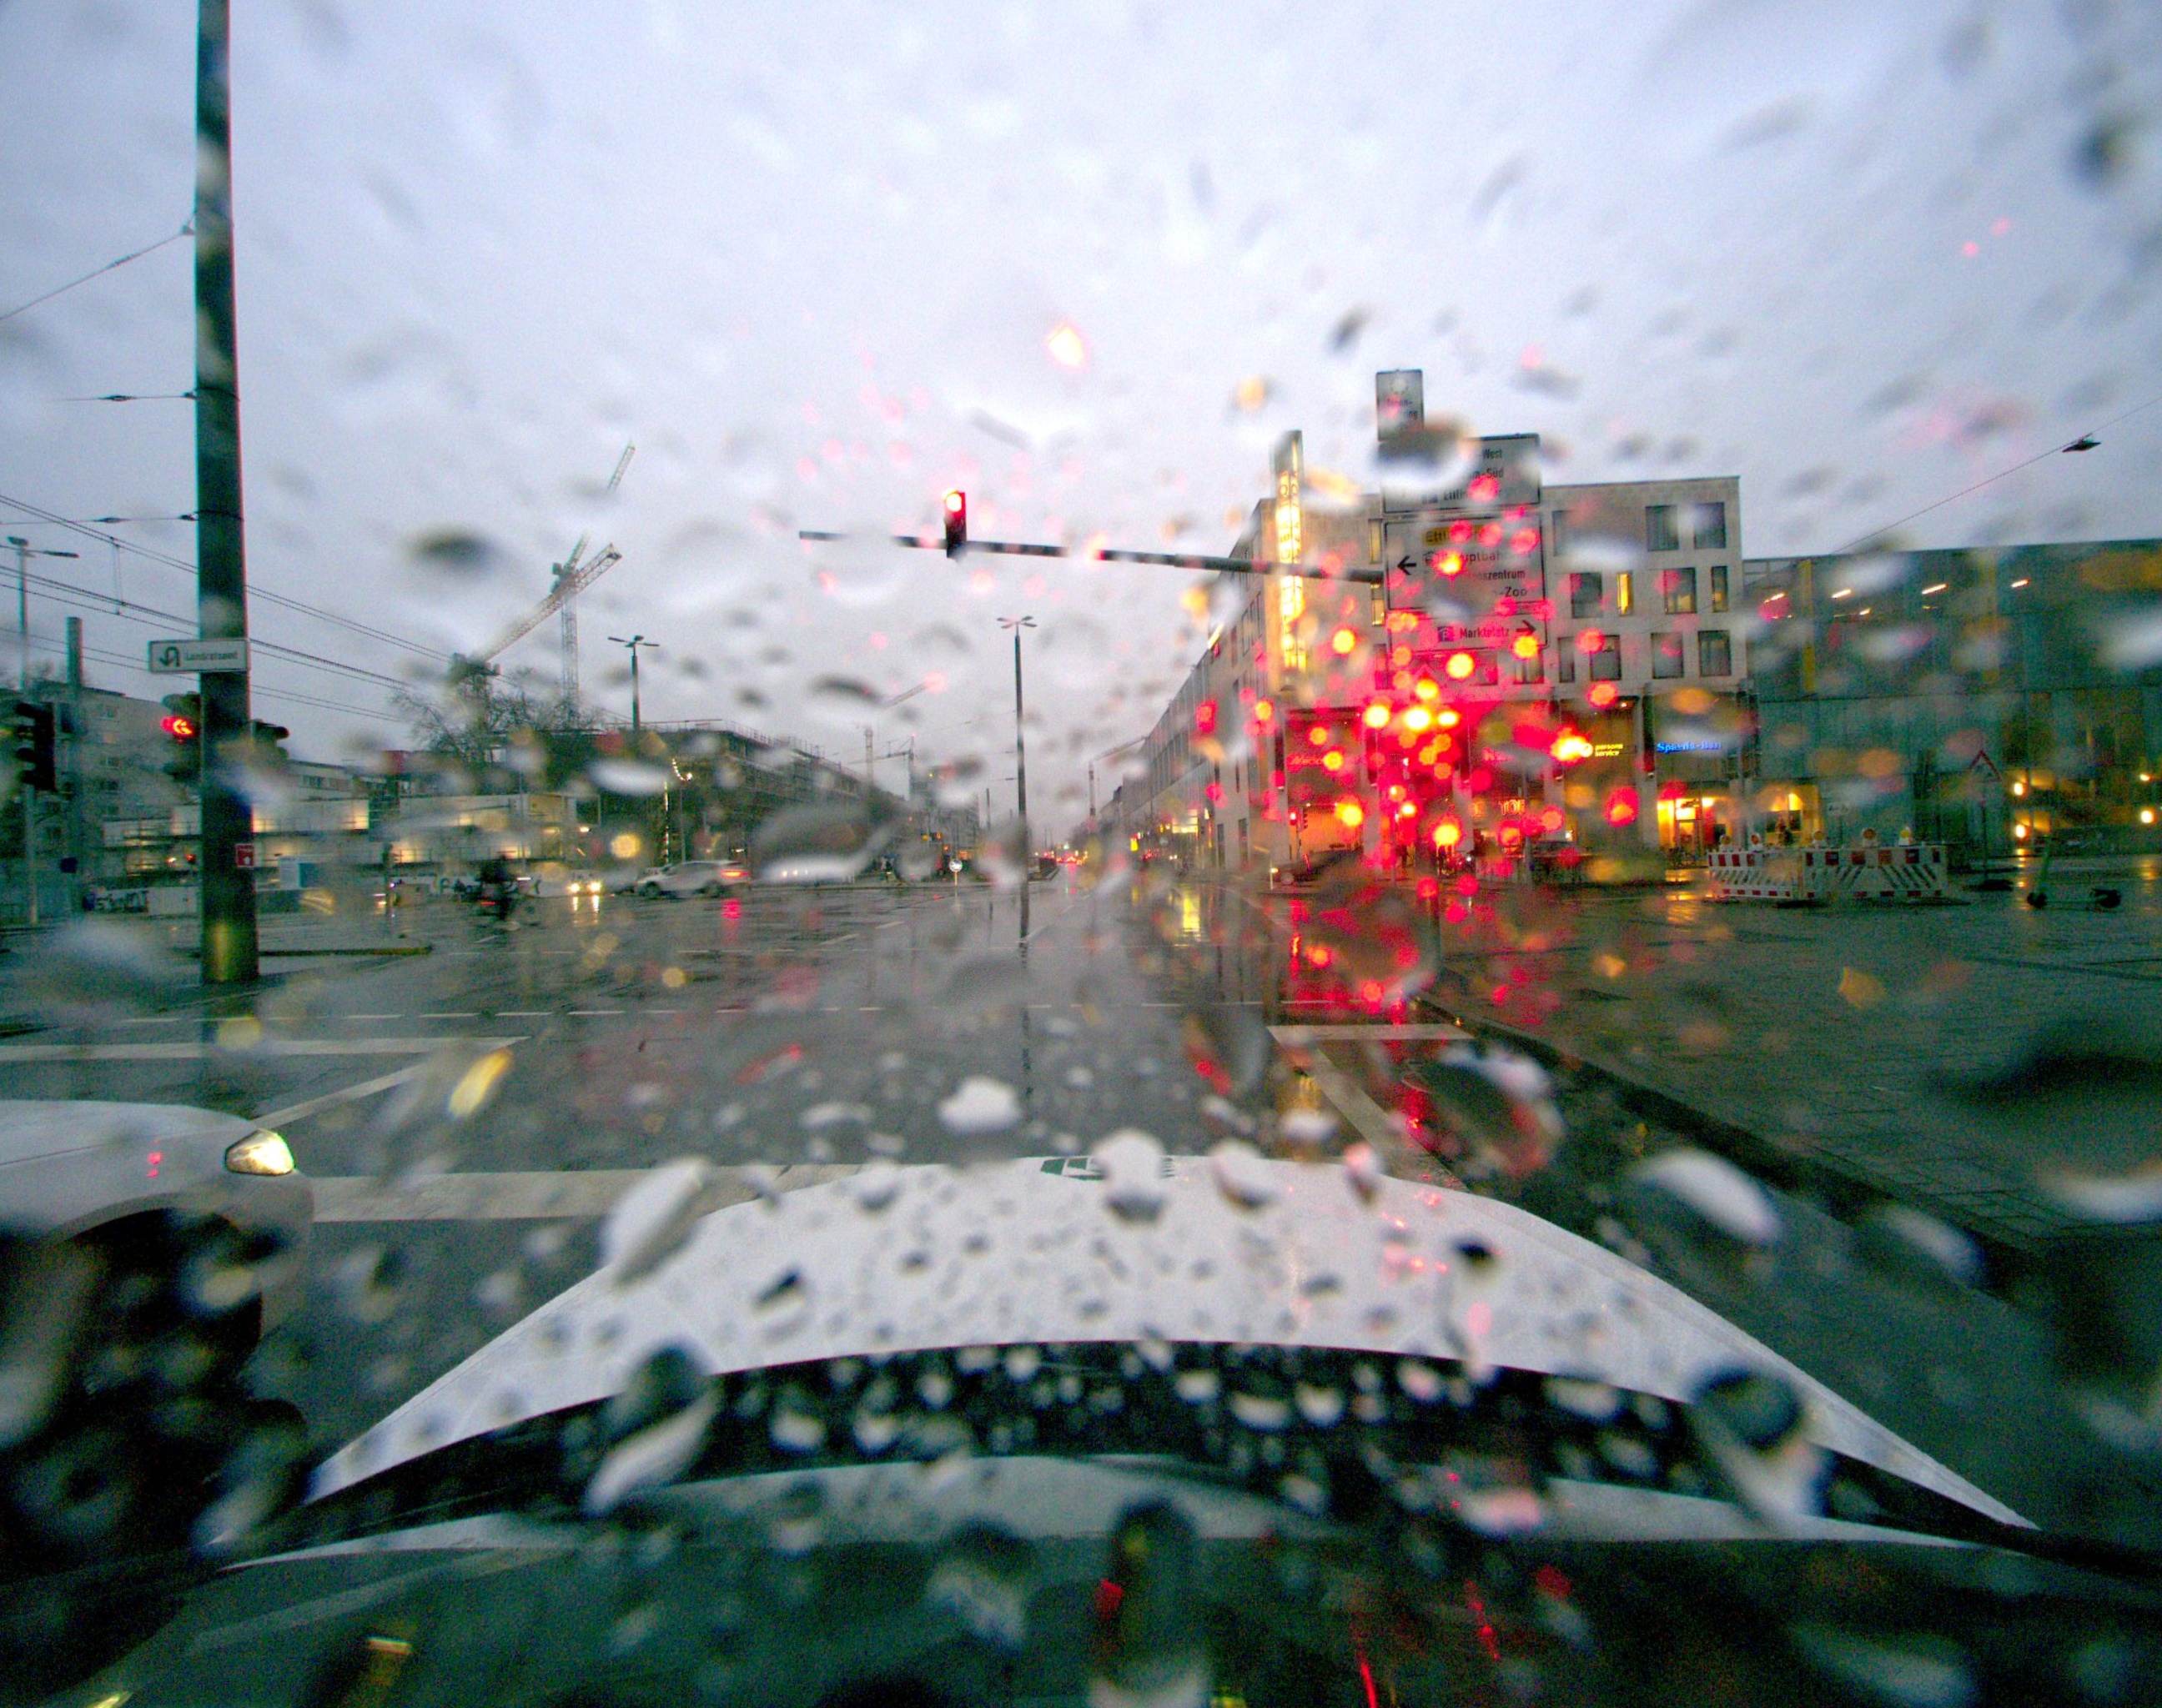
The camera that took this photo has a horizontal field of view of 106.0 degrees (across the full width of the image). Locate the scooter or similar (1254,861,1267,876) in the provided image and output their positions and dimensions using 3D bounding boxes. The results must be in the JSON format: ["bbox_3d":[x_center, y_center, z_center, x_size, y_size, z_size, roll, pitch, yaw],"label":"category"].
[{"bbox_3d":[11.273,0.920,51.156,0.738,0.916,0.401,-2,-1,3],"label":"scooter or similar"}]

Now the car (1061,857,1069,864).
[{"bbox_3d":[-4.467,1.844,226.634,1.881,1.783,3.715,-1,-1,2],"label":"car"}]

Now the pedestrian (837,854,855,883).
[{"bbox_3d":[-13.507,0.834,46.717,0.702,1.619,0.682,-2,-1,11],"label":"pedestrian"}]

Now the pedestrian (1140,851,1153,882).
[{"bbox_3d":[3.799,0.717,47.255,0.631,1.772,0.484,-2,-1,0],"label":"pedestrian"}]

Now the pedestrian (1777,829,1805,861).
[{"bbox_3d":[36.062,-0.457,41.367,0.791,1.631,0.709,-1,-1,1],"label":"pedestrian"}]

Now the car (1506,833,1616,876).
[{"bbox_3d":[19.933,0.033,33.893,3.558,1.582,1.676,-2,-1,-1],"label":"car"}]

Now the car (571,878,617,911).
[{"bbox_3d":[-33.378,2.738,55.930,1.760,2.013,3.977,-2,0,-17],"label":"car"}]

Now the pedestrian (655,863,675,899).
[{"bbox_3d":[-24.181,1.573,47.372,0.792,2.013,0.745,-2,-1,-9],"label":"pedestrian"}]

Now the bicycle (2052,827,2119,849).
[{"bbox_3d":[48.556,-0.759,39.404,0.613,1.033,2.138,-2,0,3],"label":"bicycle"}]

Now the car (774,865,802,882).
[{"bbox_3d":[-35.498,2.336,98.868,1.988,2.013,3.997,-2,0,-2],"label":"car"}]

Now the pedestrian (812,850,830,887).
[{"bbox_3d":[-14.463,0.792,45.303,0.781,2.013,0.606,-2,-1,-37],"label":"pedestrian"}]

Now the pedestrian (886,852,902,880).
[{"bbox_3d":[-11.006,0.731,47.941,0.616,1.619,0.700,-2,-1,-43],"label":"pedestrian"}]

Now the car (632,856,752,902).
[{"bbox_3d":[-16.749,1.064,35.204,4.287,1.761,1.707,-2,0,1],"label":"car"}]

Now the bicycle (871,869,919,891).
[{"bbox_3d":[-8.757,1.232,38.456,2.123,0.992,0.541,1,-4,-3],"label":"bicycle"}]

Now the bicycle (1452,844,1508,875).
[{"bbox_3d":[15.386,0.208,31.431,1.831,1.093,0.620,-2,-1,16],"label":"bicycle"}]

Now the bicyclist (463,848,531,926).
[{"bbox_3d":[-13.226,0.727,18.448,1.031,1.697,0.616,-2,-1,-5],"label":"bicyclist"}]

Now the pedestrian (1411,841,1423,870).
[{"bbox_3d":[20.450,0.073,49.559,0.510,1.760,0.374,-2,-1,1],"label":"pedestrian"}]

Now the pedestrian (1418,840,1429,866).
[{"bbox_3d":[23.121,-0.080,55.014,0.530,1.718,0.505,-3,-1,39],"label":"pedestrian"}]

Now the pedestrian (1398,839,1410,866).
[{"bbox_3d":[20.855,-0.088,52.523,0.530,1.718,0.505,-3,-1,39],"label":"pedestrian"}]

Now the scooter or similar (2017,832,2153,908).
[{"bbox_3d":[15.852,0.245,12.898,0.603,1.130,1.236,-2,0,2],"label":"scooter or similar"}]

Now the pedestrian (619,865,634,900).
[{"bbox_3d":[-26.143,1.637,46.859,0.507,2.014,0.638,-2,-1,-9],"label":"pedestrian"}]

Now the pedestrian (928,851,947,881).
[{"bbox_3d":[-8.164,0.702,46.422,0.823,1.679,0.623,-2,-1,25],"label":"pedestrian"}]

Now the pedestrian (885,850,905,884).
[{"bbox_3d":[-8.782,0.622,38.491,0.812,1.570,0.536,1,-4,-2],"label":"pedestrian"}]

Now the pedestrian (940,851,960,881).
[{"bbox_3d":[-7.578,0.697,47.137,0.835,1.688,0.681,-2,-1,27],"label":"pedestrian"}]

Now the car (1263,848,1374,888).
[{"bbox_3d":[10.292,0.585,35.569,4.504,1.574,1.803,-2,0,14],"label":"car"}]

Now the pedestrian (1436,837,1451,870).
[{"bbox_3d":[18.326,-0.024,41.176,0.530,1.685,0.552,-3,-1,39],"label":"pedestrian"}]

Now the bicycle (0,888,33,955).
[{"bbox_3d":[-23.926,1.482,16.969,2.829,1.362,0.719,-3,-1,-8],"label":"bicycle"}]

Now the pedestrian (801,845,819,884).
[{"bbox_3d":[-14.783,0.594,44.387,0.691,2.087,0.606,-2,-1,-39],"label":"pedestrian"}]

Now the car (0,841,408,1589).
[{"bbox_3d":[-3.188,0.762,0.183,1.903,1.520,4.923,-2,0,0],"label":"car"}]

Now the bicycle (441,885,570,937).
[{"bbox_3d":[-13.013,1.281,18.456,2.369,1.033,0.616,-2,-1,-6],"label":"bicycle"}]

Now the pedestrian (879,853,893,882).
[{"bbox_3d":[-11.939,0.845,49.902,0.616,1.746,0.613,-2,-1,3],"label":"pedestrian"}]

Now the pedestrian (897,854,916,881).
[{"bbox_3d":[-10.351,0.796,48.293,0.749,1.607,0.802,-2,-1,-41],"label":"pedestrian"}]

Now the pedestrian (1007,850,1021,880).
[{"bbox_3d":[-3.920,0.631,47.895,0.700,1.760,0.652,-2,-1,1],"label":"pedestrian"}]

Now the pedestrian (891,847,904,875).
[{"bbox_3d":[-11.610,0.464,51.577,0.617,1.746,0.612,-2,-1,-4],"label":"pedestrian"}]

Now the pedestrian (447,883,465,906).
[{"bbox_3d":[-44.400,2.862,57.841,0.797,1.529,0.641,-2,-1,-22],"label":"pedestrian"}]

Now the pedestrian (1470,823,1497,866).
[{"bbox_3d":[15.531,-0.365,31.432,0.775,1.595,0.616,-2,-1,17],"label":"pedestrian"}]
